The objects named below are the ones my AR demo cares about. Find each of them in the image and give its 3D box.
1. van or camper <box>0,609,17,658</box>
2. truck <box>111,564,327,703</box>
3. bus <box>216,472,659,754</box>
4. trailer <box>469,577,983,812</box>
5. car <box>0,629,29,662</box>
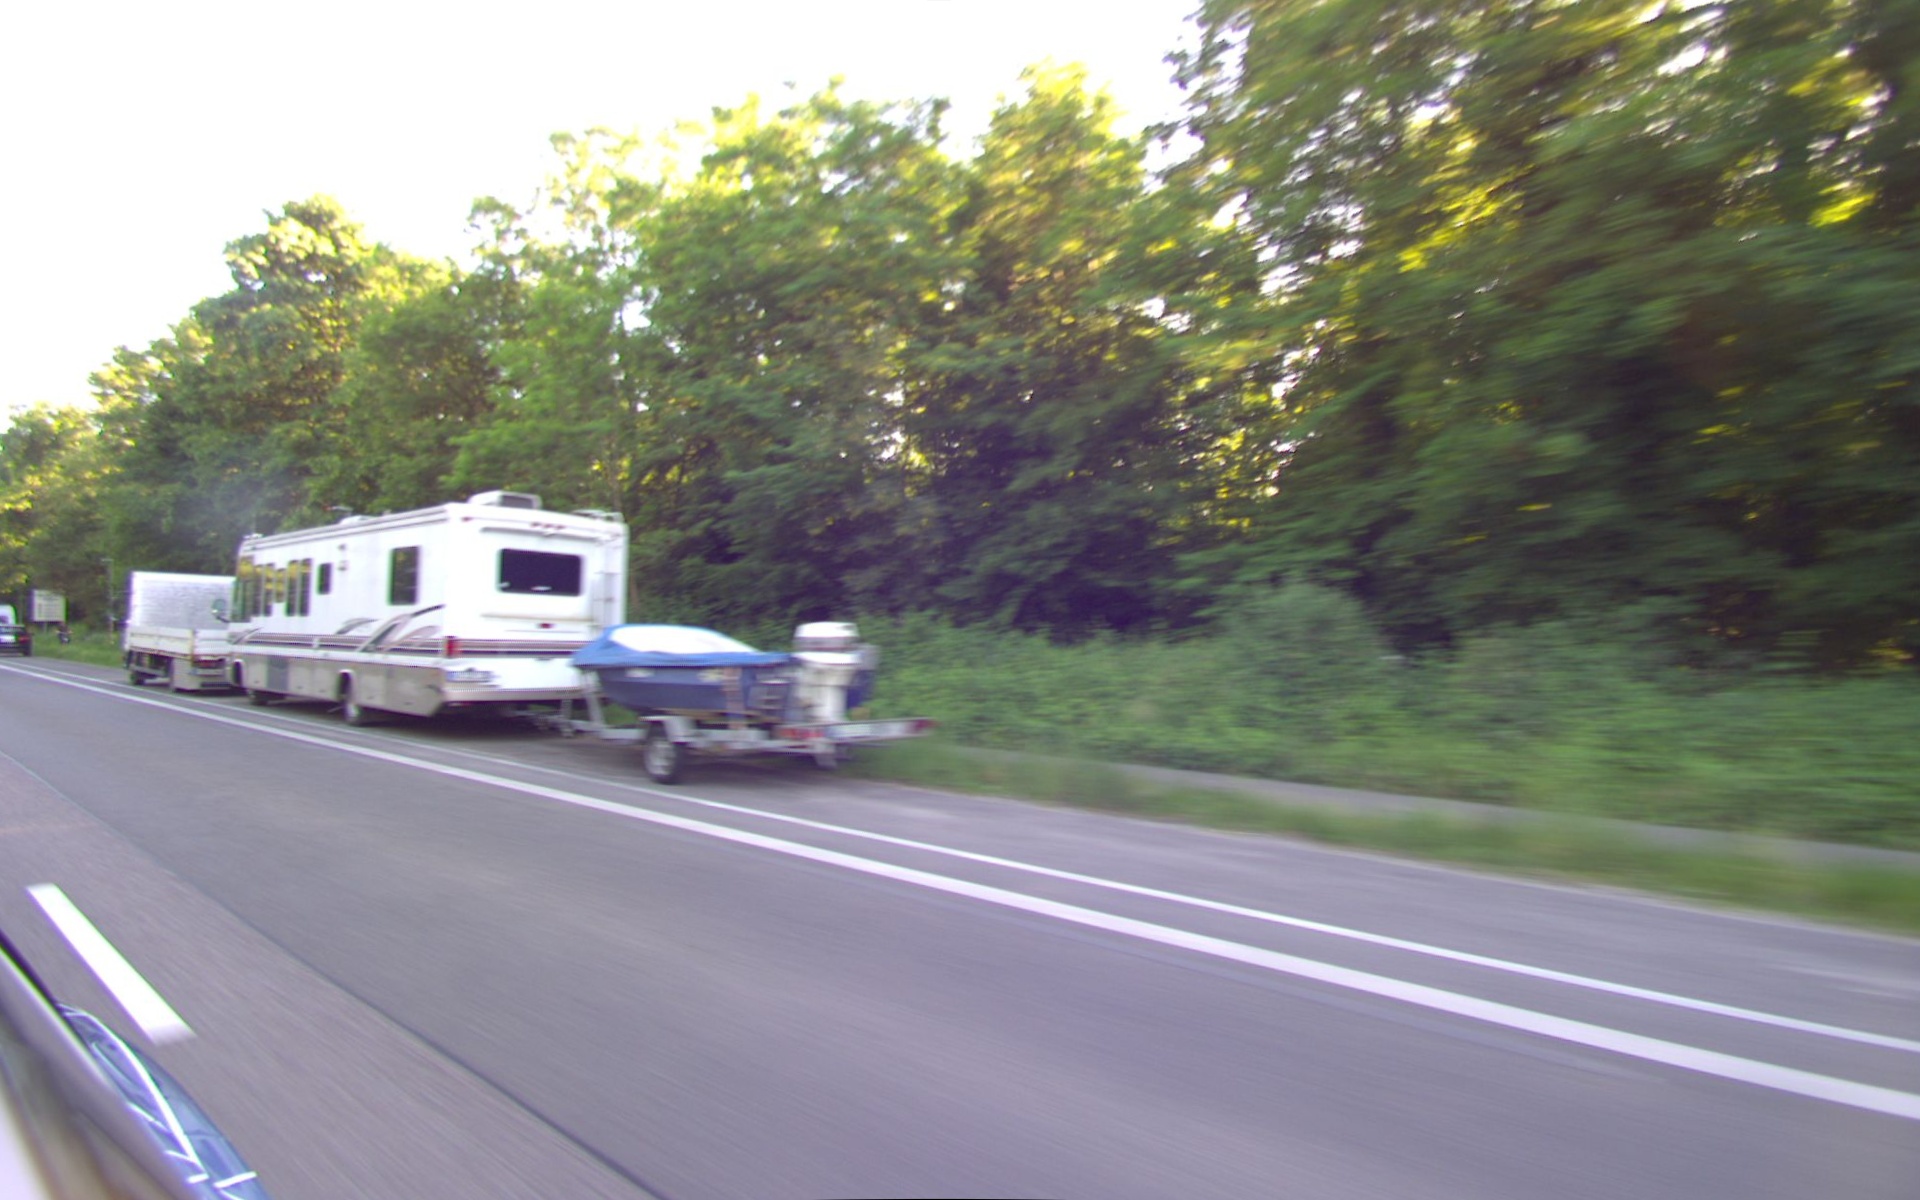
[{"bbox_3d":[-54.461,1.848,56.347,5.981,2.634,2.224,-2,-2,41],"label":"van or camper"},{"bbox_3d":[-18.066,0.767,24.406,8.420,2.845,2.457,-2,-1,41],"label":"truck"},{"bbox_3d":[-9.445,0.211,17.174,11.195,3.456,2.798,-1,0,41],"label":"bus"},{"bbox_3d":[-2.911,0.846,11.309,6.260,1.929,2.403,-2,-1,41],"label":"trailer"},{"bbox_3d":[-45.492,2.143,48.025,1.763,1.505,4.003,2,-3,-44],"label":"car"}]
